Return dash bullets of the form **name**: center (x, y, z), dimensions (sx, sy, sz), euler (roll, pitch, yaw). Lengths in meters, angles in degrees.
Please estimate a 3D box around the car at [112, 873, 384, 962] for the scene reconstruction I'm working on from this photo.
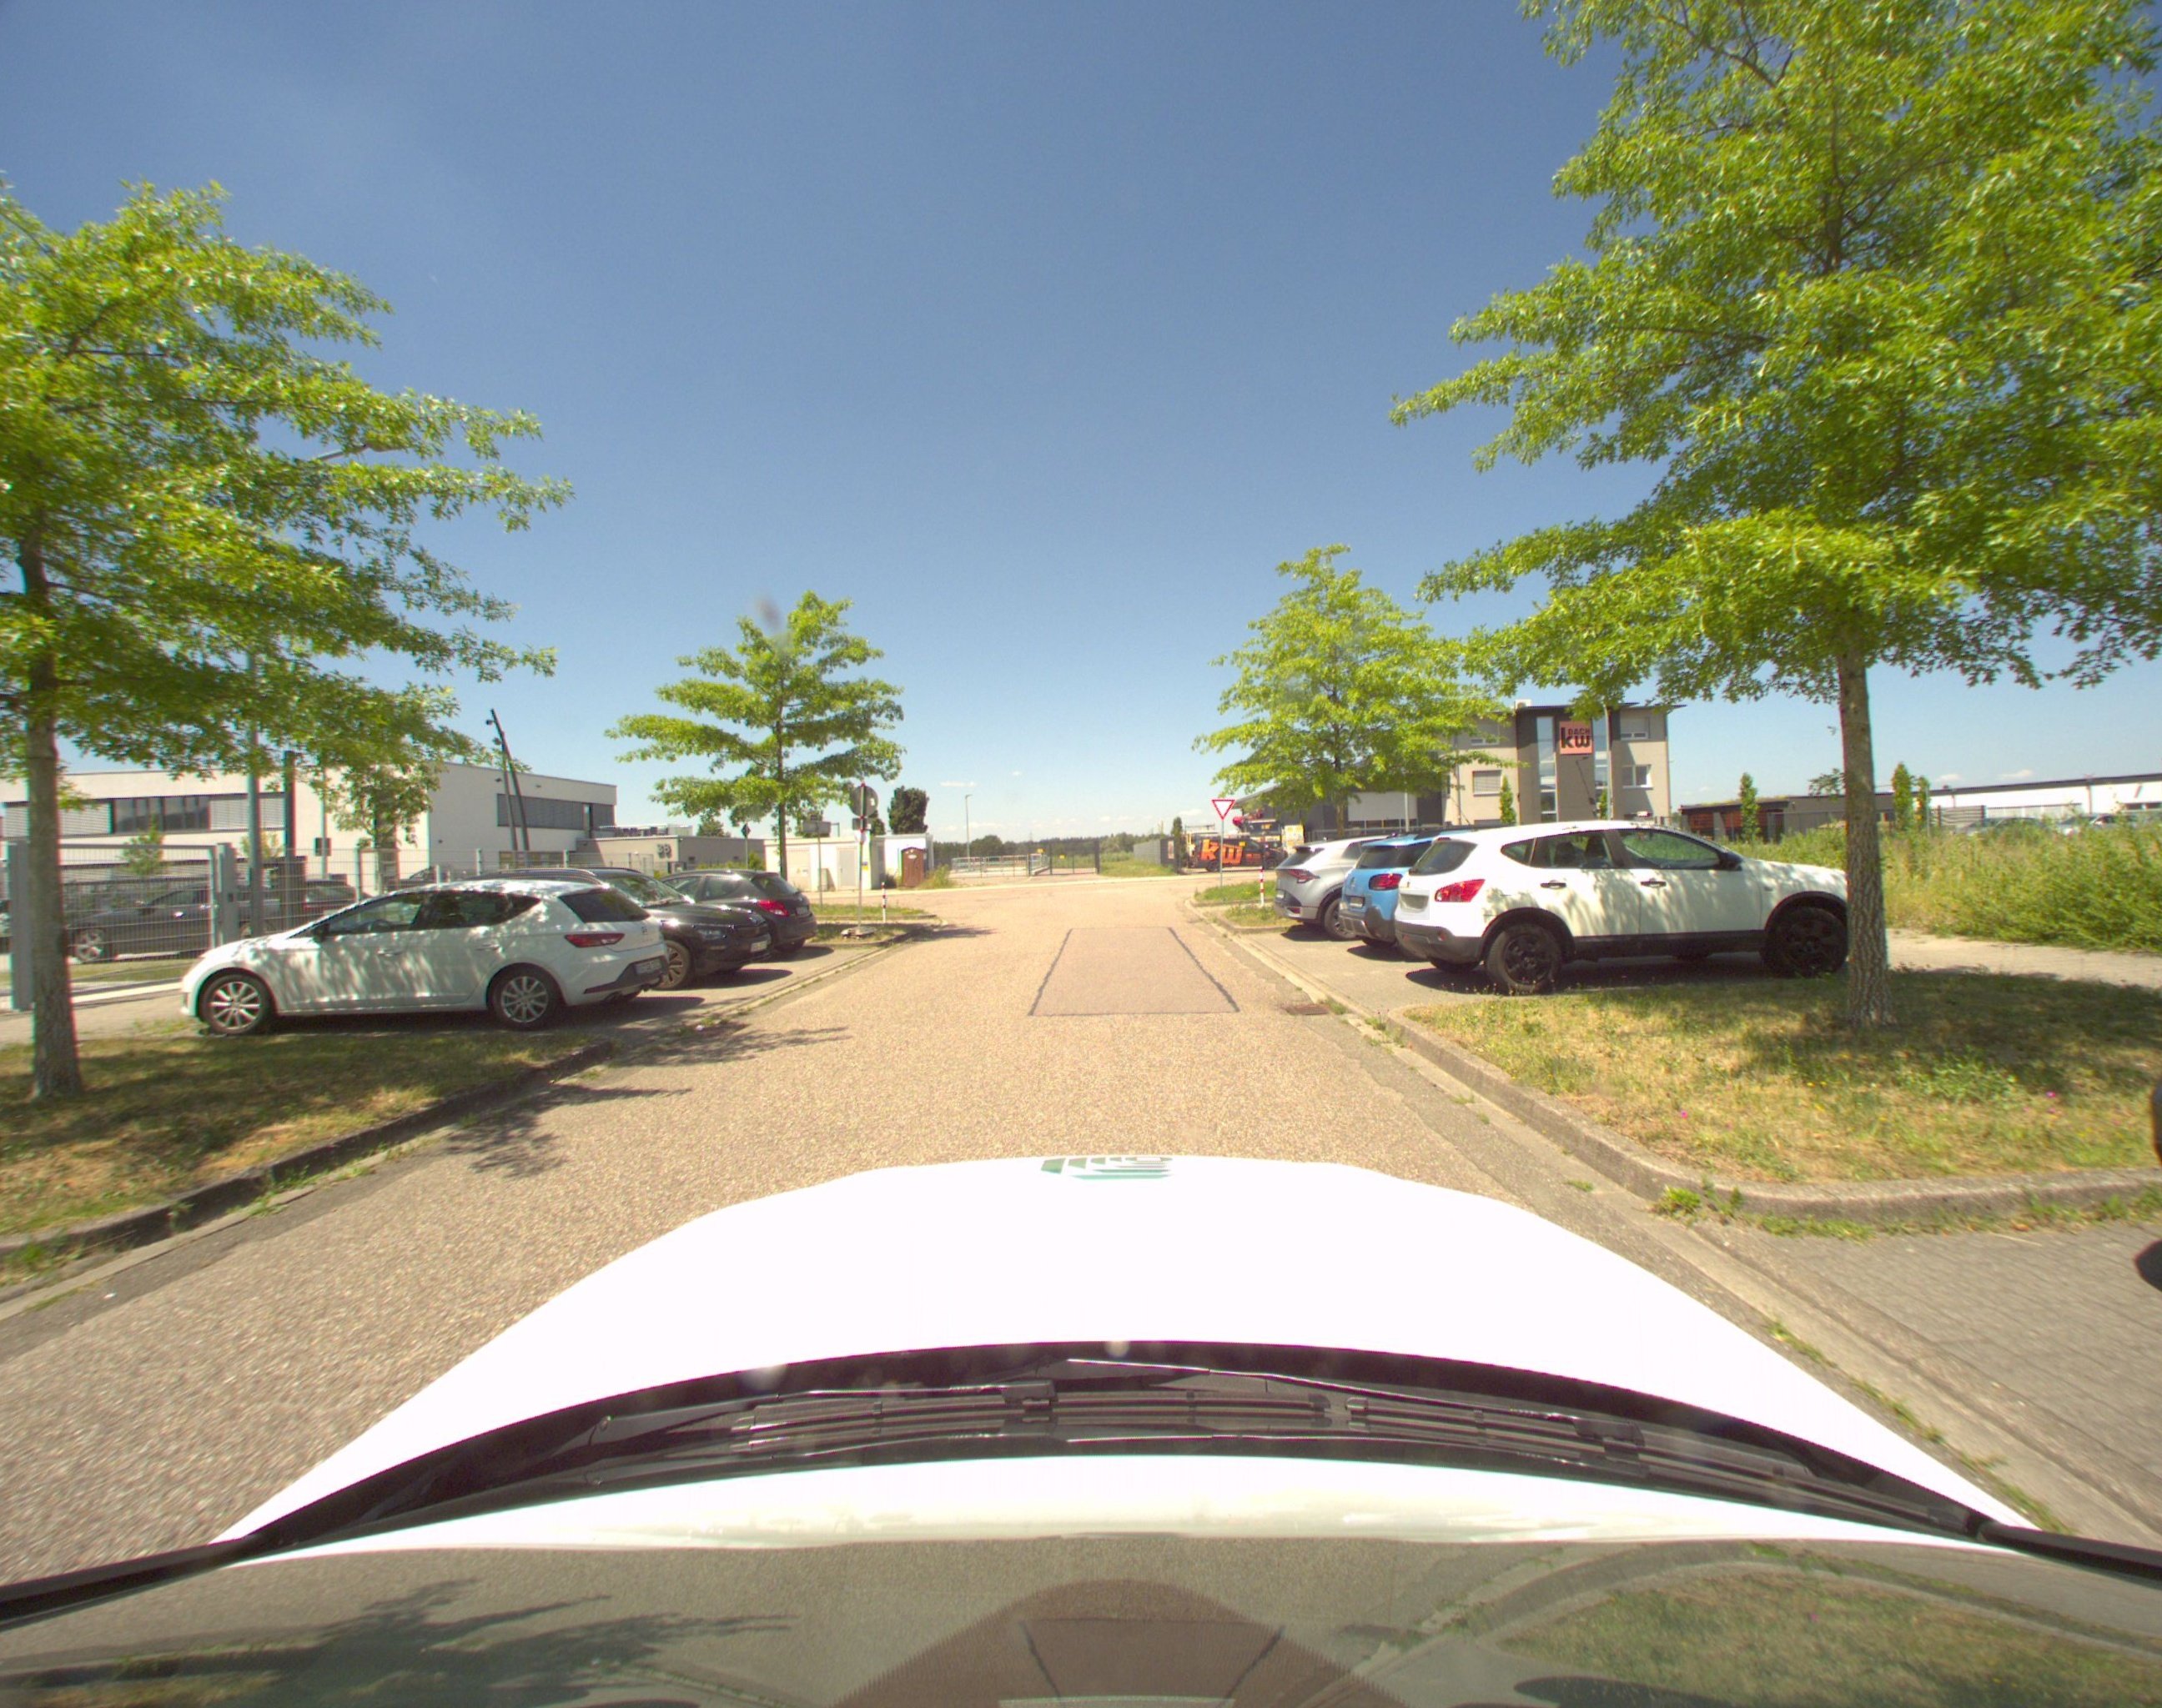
- **car**: center (-16.016, 1.188, 15.795), dimensions (3.467, 1.390, 1.678), euler (-3, 0, 1)

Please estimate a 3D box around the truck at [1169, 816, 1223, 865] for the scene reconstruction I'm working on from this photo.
- **truck**: center (7.810, -0.887, 56.111), dimensions (2.717, 3.061, 6.937), euler (-2, 0, 1)

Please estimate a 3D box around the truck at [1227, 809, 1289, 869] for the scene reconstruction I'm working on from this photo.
- **truck**: center (12.626, -1.059, 58.751), dimensions (2.911, 3.929, 6.937), euler (-2, 0, 1)

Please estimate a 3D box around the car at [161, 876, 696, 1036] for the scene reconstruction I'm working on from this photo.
- **car**: center (-6.566, 0.976, 8.612), dimensions (4.065, 1.424, 1.872), euler (0, 0, -2)

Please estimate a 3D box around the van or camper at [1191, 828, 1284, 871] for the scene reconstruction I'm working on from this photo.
- **van or camper**: center (8.904, -0.282, 46.710), dimensions (4.919, 2.163, 2.001), euler (-3, 1, 1)

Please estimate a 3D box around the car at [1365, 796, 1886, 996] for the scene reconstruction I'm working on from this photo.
- **car**: center (5.329, 0.407, 8.474), dimensions (4.052, 1.607, 1.902), euler (-4, -1, 2)

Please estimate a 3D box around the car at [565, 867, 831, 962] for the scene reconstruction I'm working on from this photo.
- **car**: center (-6.263, 0.965, 13.624), dimensions (3.615, 1.436, 1.725), euler (0, 0, -1)

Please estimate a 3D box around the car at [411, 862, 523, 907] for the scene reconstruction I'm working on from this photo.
- **car**: center (-30.977, 1.512, 41.193), dimensions (3.977, 2.013, 1.999), euler (-3, 0, -2)

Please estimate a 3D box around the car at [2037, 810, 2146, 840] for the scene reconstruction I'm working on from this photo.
- **car**: center (53.182, -1.504, 42.910), dimensions (3.616, 1.384, 1.679), euler (-2, 1, 2)

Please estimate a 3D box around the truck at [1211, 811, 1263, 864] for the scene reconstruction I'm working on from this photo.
- **truck**: center (12.664, -1.297, 66.734), dimensions (2.911, 3.929, 6.937), euler (-2, 0, 1)

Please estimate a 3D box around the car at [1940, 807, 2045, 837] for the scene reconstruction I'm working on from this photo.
- **car**: center (47.880, -1.660, 42.836), dimensions (3.616, 1.384, 1.679), euler (-2, 1, 2)

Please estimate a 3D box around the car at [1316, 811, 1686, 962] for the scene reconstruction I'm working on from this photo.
- **car**: center (5.446, 0.398, 10.968), dimensions (3.973, 1.644, 1.838), euler (-3, 0, 1)

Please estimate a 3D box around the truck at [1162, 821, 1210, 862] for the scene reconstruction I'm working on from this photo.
- **truck**: center (8.245, -0.951, 64.556), dimensions (2.911, 2.937, 6.937), euler (-2, 0, 1)

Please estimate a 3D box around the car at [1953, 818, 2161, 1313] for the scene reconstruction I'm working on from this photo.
- **car**: center (4.988, 0.494, 1.831), dimensions (3.908, 1.409, 1.910), euler (-3, -1, 1)

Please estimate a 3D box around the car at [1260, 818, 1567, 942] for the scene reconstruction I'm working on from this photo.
- **car**: center (5.308, 0.402, 13.450), dimensions (4.263, 1.644, 1.852), euler (-4, 0, 2)

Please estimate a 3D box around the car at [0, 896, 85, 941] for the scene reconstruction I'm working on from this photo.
- **car**: center (-40.023, 2.437, 30.038), dimensions (3.977, 1.540, 1.998), euler (-3, -2, -2)

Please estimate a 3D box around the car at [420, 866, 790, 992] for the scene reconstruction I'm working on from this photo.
- **car**: center (-6.212, 0.938, 10.995), dimensions (3.916, 1.520, 1.784), euler (0, 0, -1)
